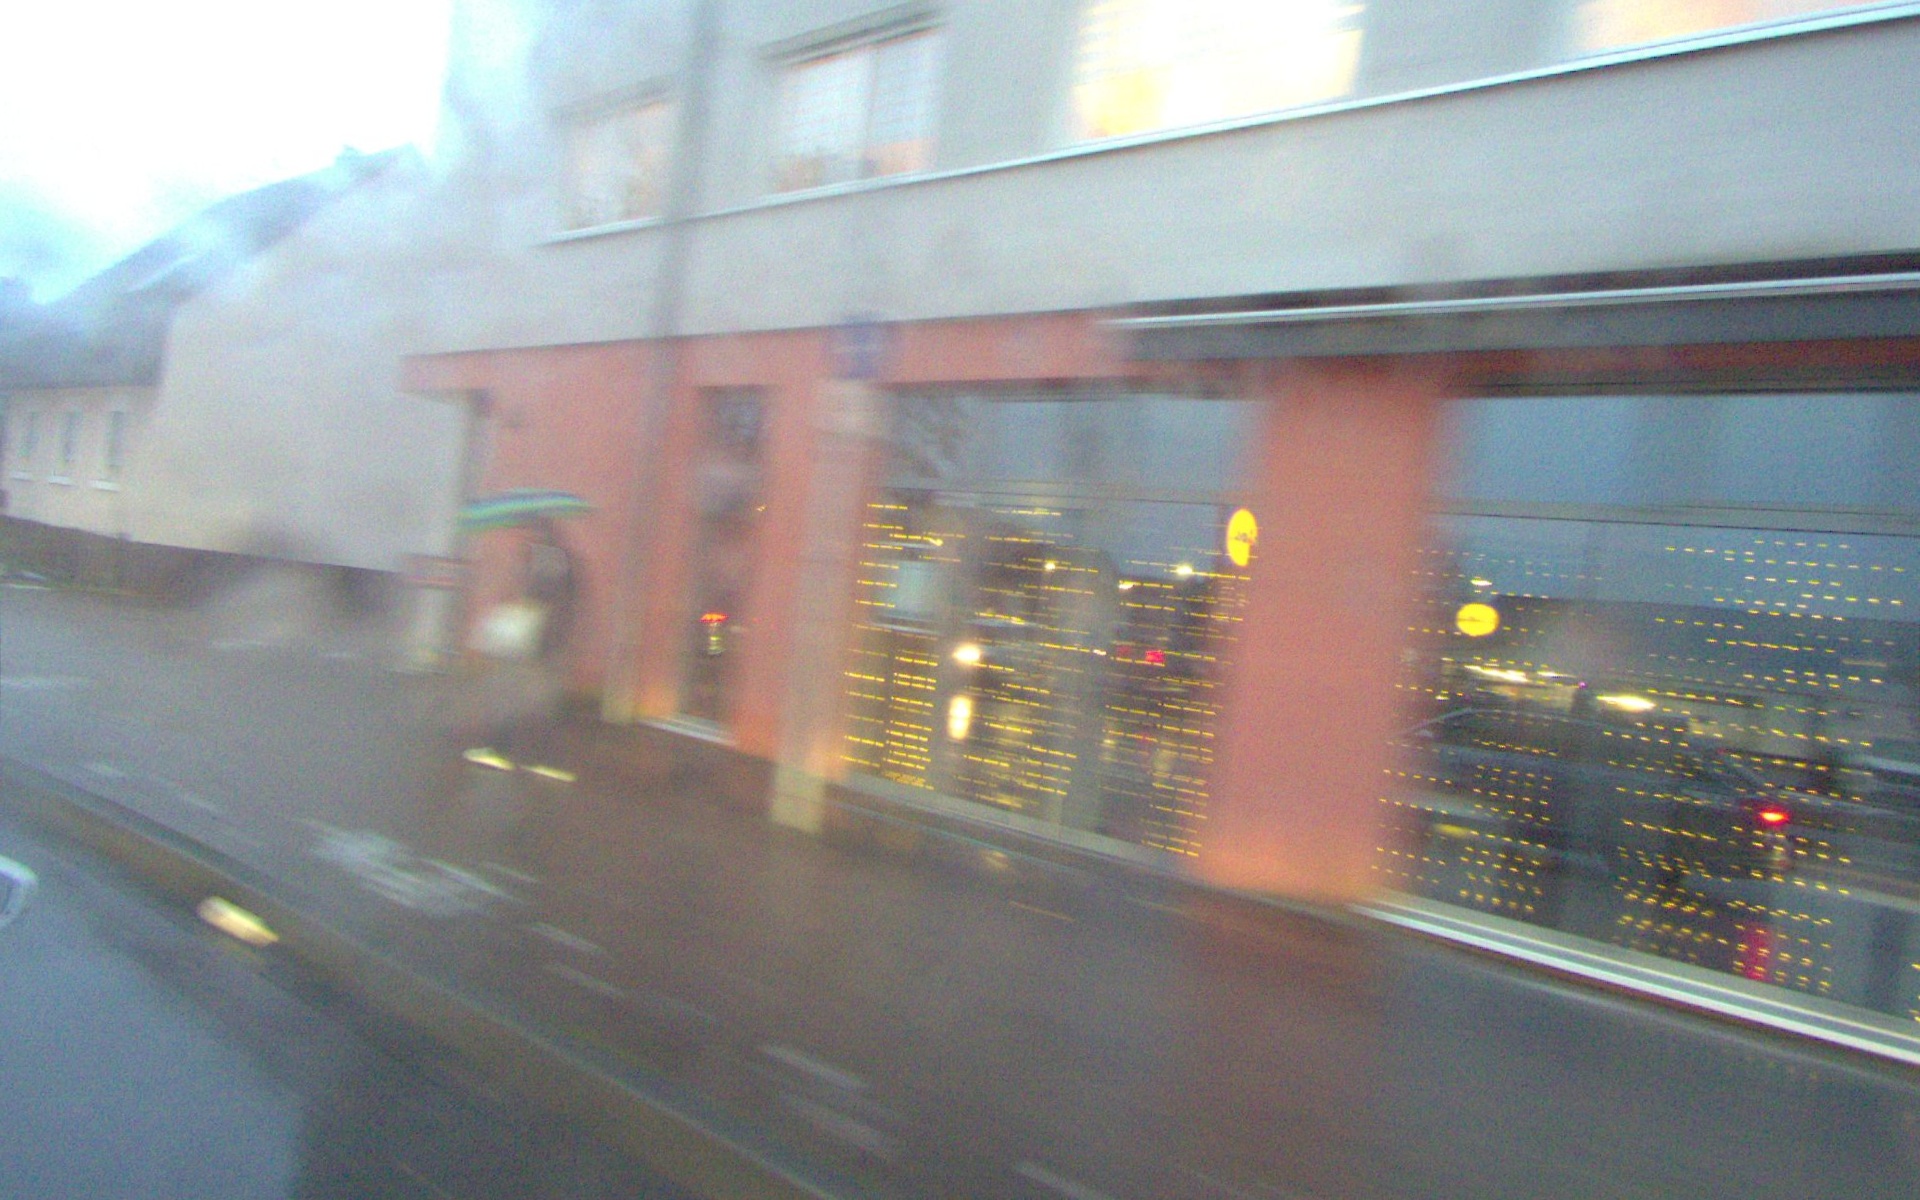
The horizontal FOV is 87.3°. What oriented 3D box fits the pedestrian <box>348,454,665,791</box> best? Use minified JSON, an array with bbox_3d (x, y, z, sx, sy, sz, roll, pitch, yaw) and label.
[{"bbox_3d":[-2.935,0.120,6.547,1.283,1.889,1.254,7,1,35],"label":"pedestrian"}]
